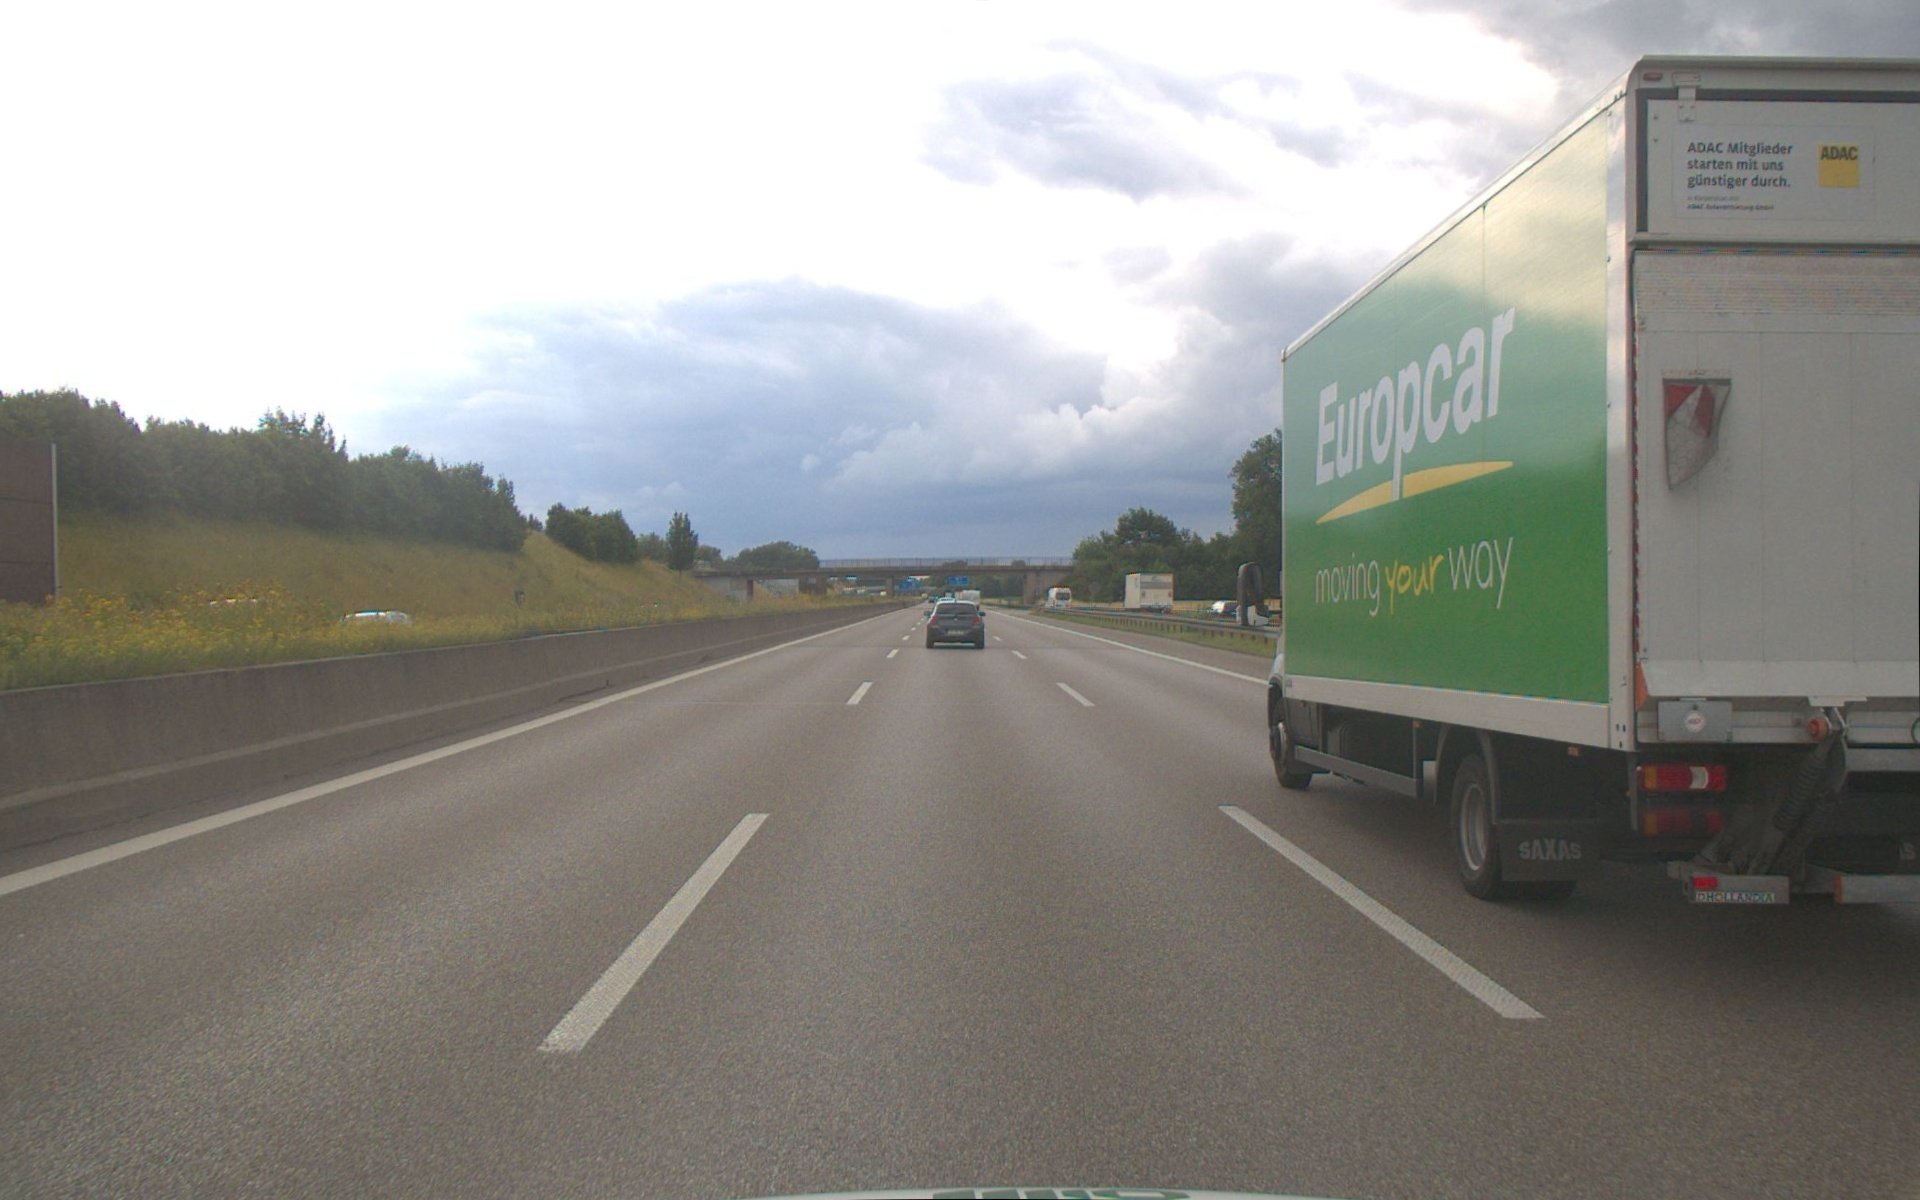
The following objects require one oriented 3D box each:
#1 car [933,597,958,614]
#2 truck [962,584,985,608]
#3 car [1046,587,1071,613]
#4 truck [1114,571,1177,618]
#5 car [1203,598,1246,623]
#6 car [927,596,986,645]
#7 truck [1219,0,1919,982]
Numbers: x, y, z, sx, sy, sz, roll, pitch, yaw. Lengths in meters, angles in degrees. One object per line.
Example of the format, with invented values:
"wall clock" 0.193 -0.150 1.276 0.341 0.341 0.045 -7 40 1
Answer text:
"car" -1.156 0.447 133.540 1.953 1.321 3.999 -1 0 -1
"truck" 1.714 -0.543 217.385 2.655 3.016 12.444 1 0 -1
"car" 10.310 -0.026 173.385 2.176 2.613 6.255 0 0 -1
"truck" 14.351 -0.403 128.941 3.044 3.531 8.879 1 0 -6
"car" 17.819 0.702 111.598 1.879 1.577 4.921 -1 0 -3
"car" -0.127 0.589 50.467 1.708 1.413 3.999 0 0 -1
"truck" 3.761 -0.442 10.413 2.714 3.566 9.060 0 0 -1
